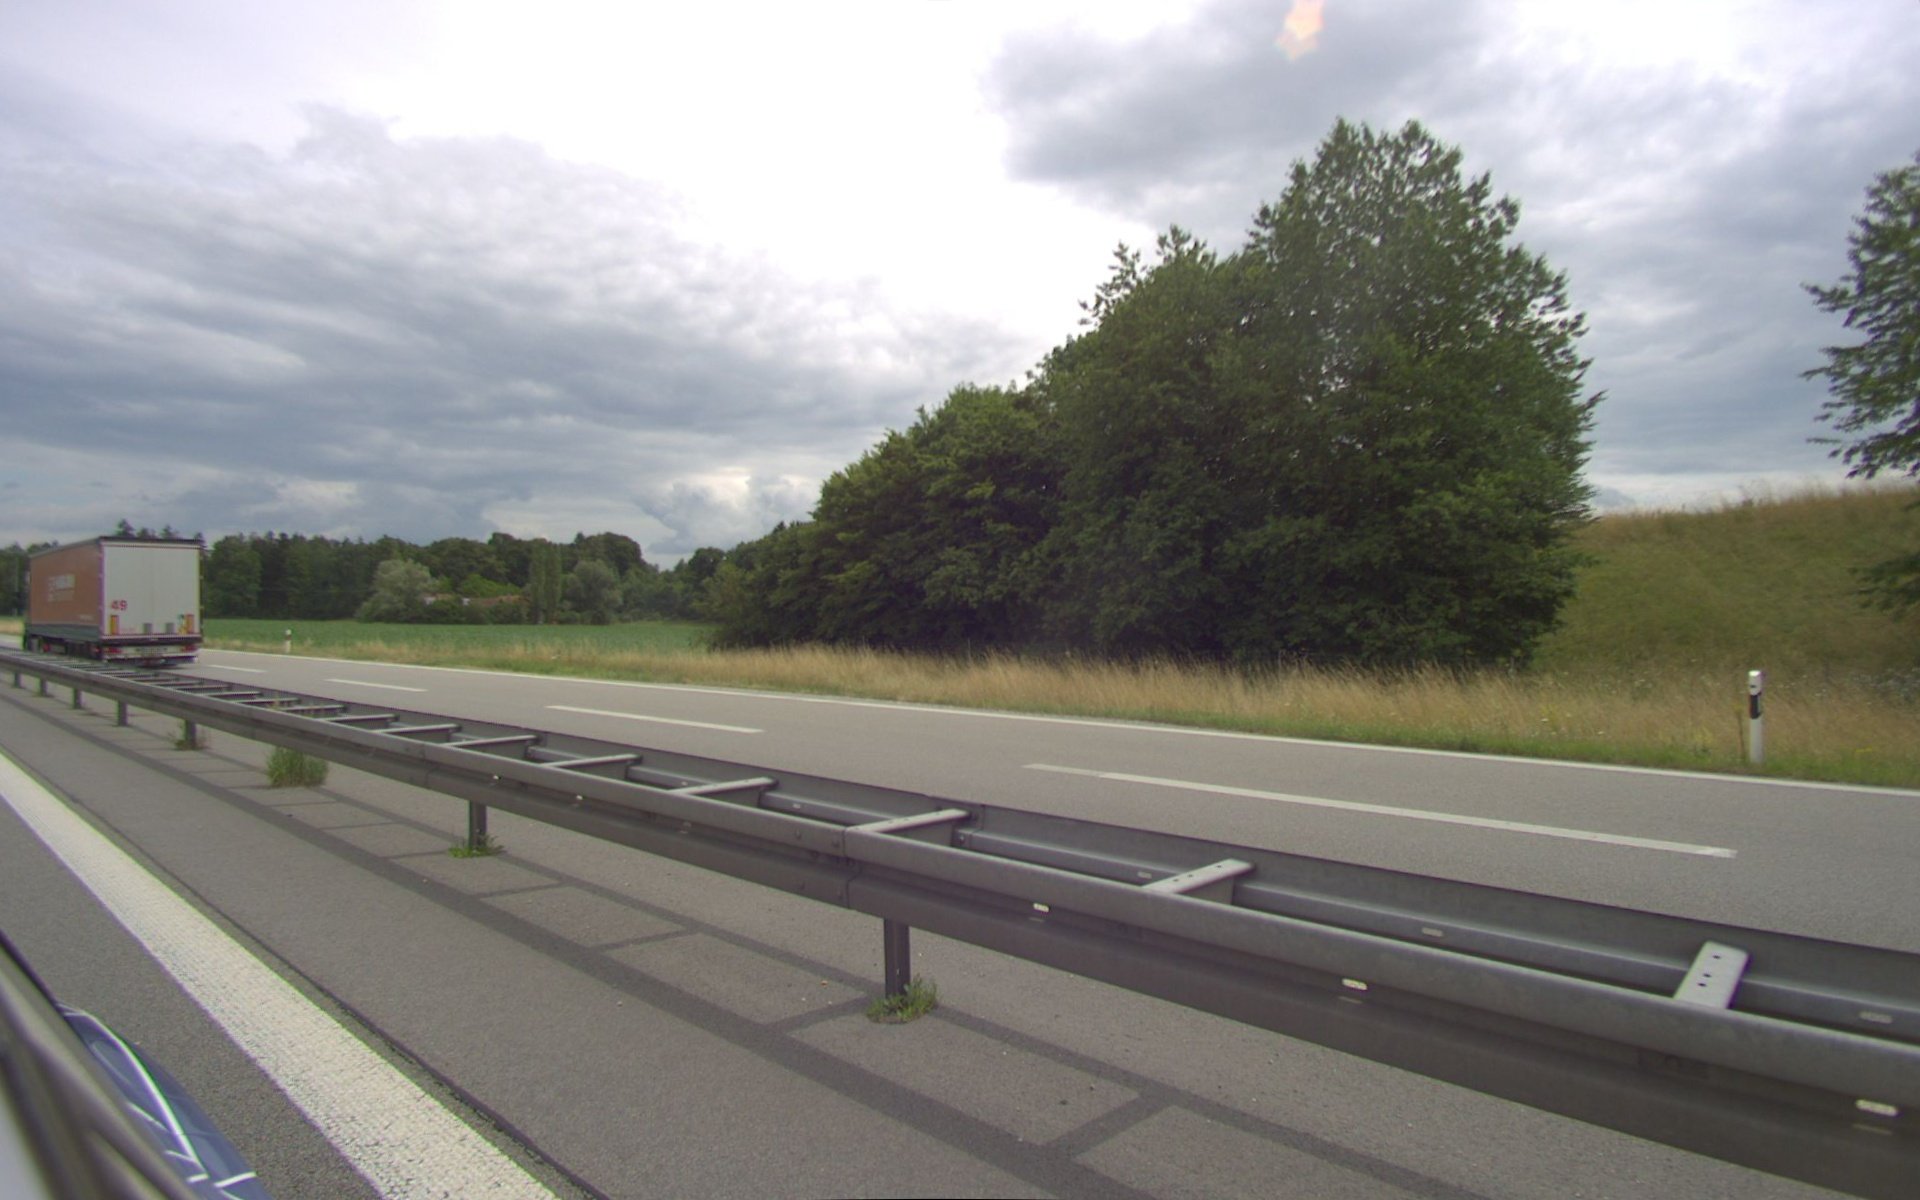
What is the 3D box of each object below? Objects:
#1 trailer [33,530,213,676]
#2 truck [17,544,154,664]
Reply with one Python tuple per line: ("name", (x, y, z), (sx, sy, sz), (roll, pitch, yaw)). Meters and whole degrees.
("trailer", (-28.816, 0.087, 34.532), (11.641, 4.244, 3.117), (0, 1, 42))
("truck", (-33.934, 0.135, 39.184), (6.778, 4.244, 3.090), (0, 1, 41))
